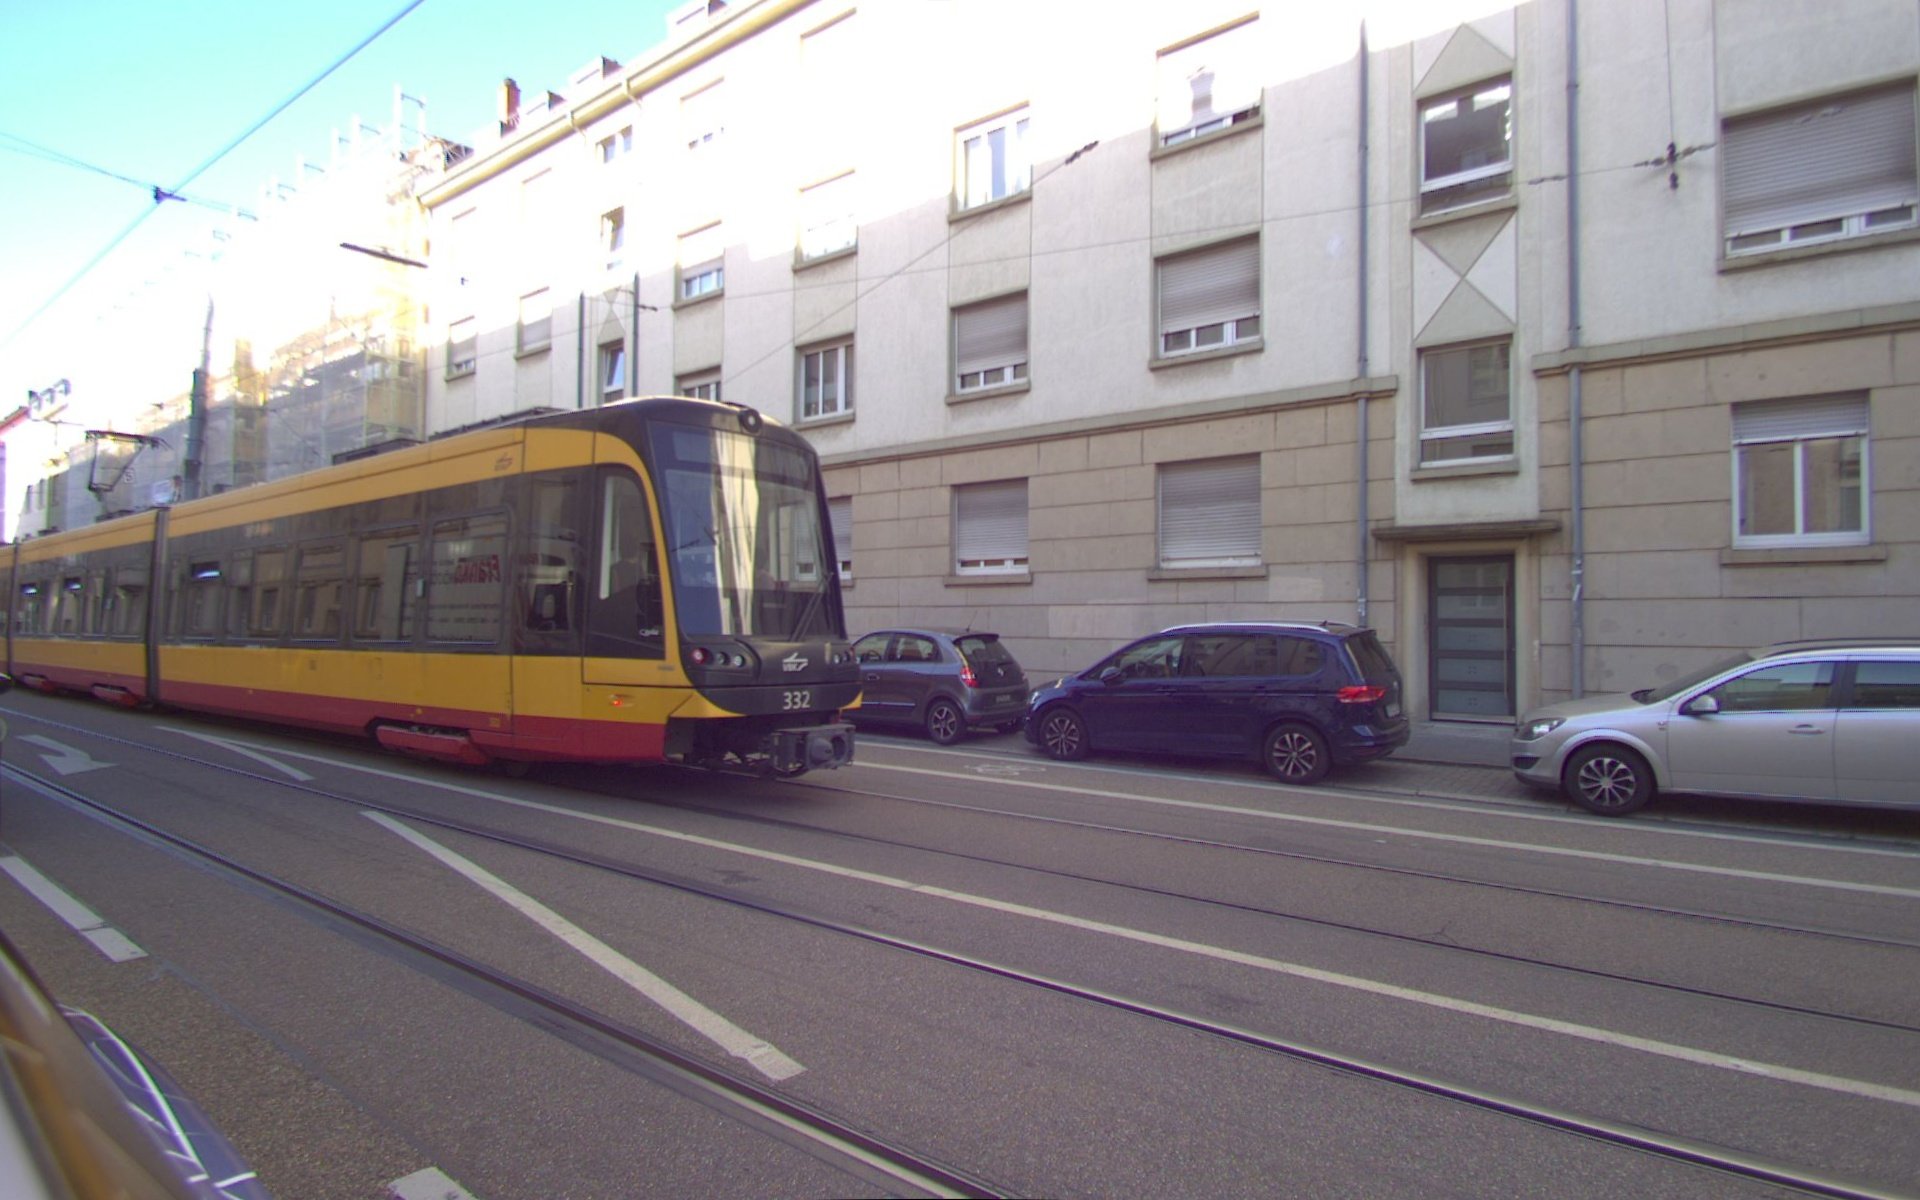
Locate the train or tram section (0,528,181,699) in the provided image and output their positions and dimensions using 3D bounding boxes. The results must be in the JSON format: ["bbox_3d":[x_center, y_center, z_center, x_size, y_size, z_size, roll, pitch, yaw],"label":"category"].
[{"bbox_3d":[-24.297,0.435,26.521,12.613,3.621,3.032,-1,-3,38],"label":"train or tram section"}]

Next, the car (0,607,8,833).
[{"bbox_3d":[-8.045,0.818,6.996,3.997,1.515,1.670,-2,-3,40],"label":"car"}]

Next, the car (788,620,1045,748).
[{"bbox_3d":[-0.689,1.113,14.676,3.493,1.584,1.650,-1,0,38],"label":"car"}]

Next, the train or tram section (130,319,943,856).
[{"bbox_3d":[-6.559,-0.026,12.426,14.247,3.659,2.718,-1,0,39],"label":"train or tram section"}]

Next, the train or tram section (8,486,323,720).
[{"bbox_3d":[-15.770,0.091,19.749,9.072,3.658,2.798,-1,0,38],"label":"train or tram section"}]

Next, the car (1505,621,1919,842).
[{"bbox_3d":[7.216,0.988,8.537,4.358,1.571,1.975,-1,0,38],"label":"car"}]

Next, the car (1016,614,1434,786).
[{"bbox_3d":[2.947,0.984,11.682,4.285,1.597,1.887,-1,0,37],"label":"car"}]

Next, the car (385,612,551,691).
[{"bbox_3d":[-11.031,1.079,22.591,4.108,1.603,1.691,-1,0,38],"label":"car"}]
